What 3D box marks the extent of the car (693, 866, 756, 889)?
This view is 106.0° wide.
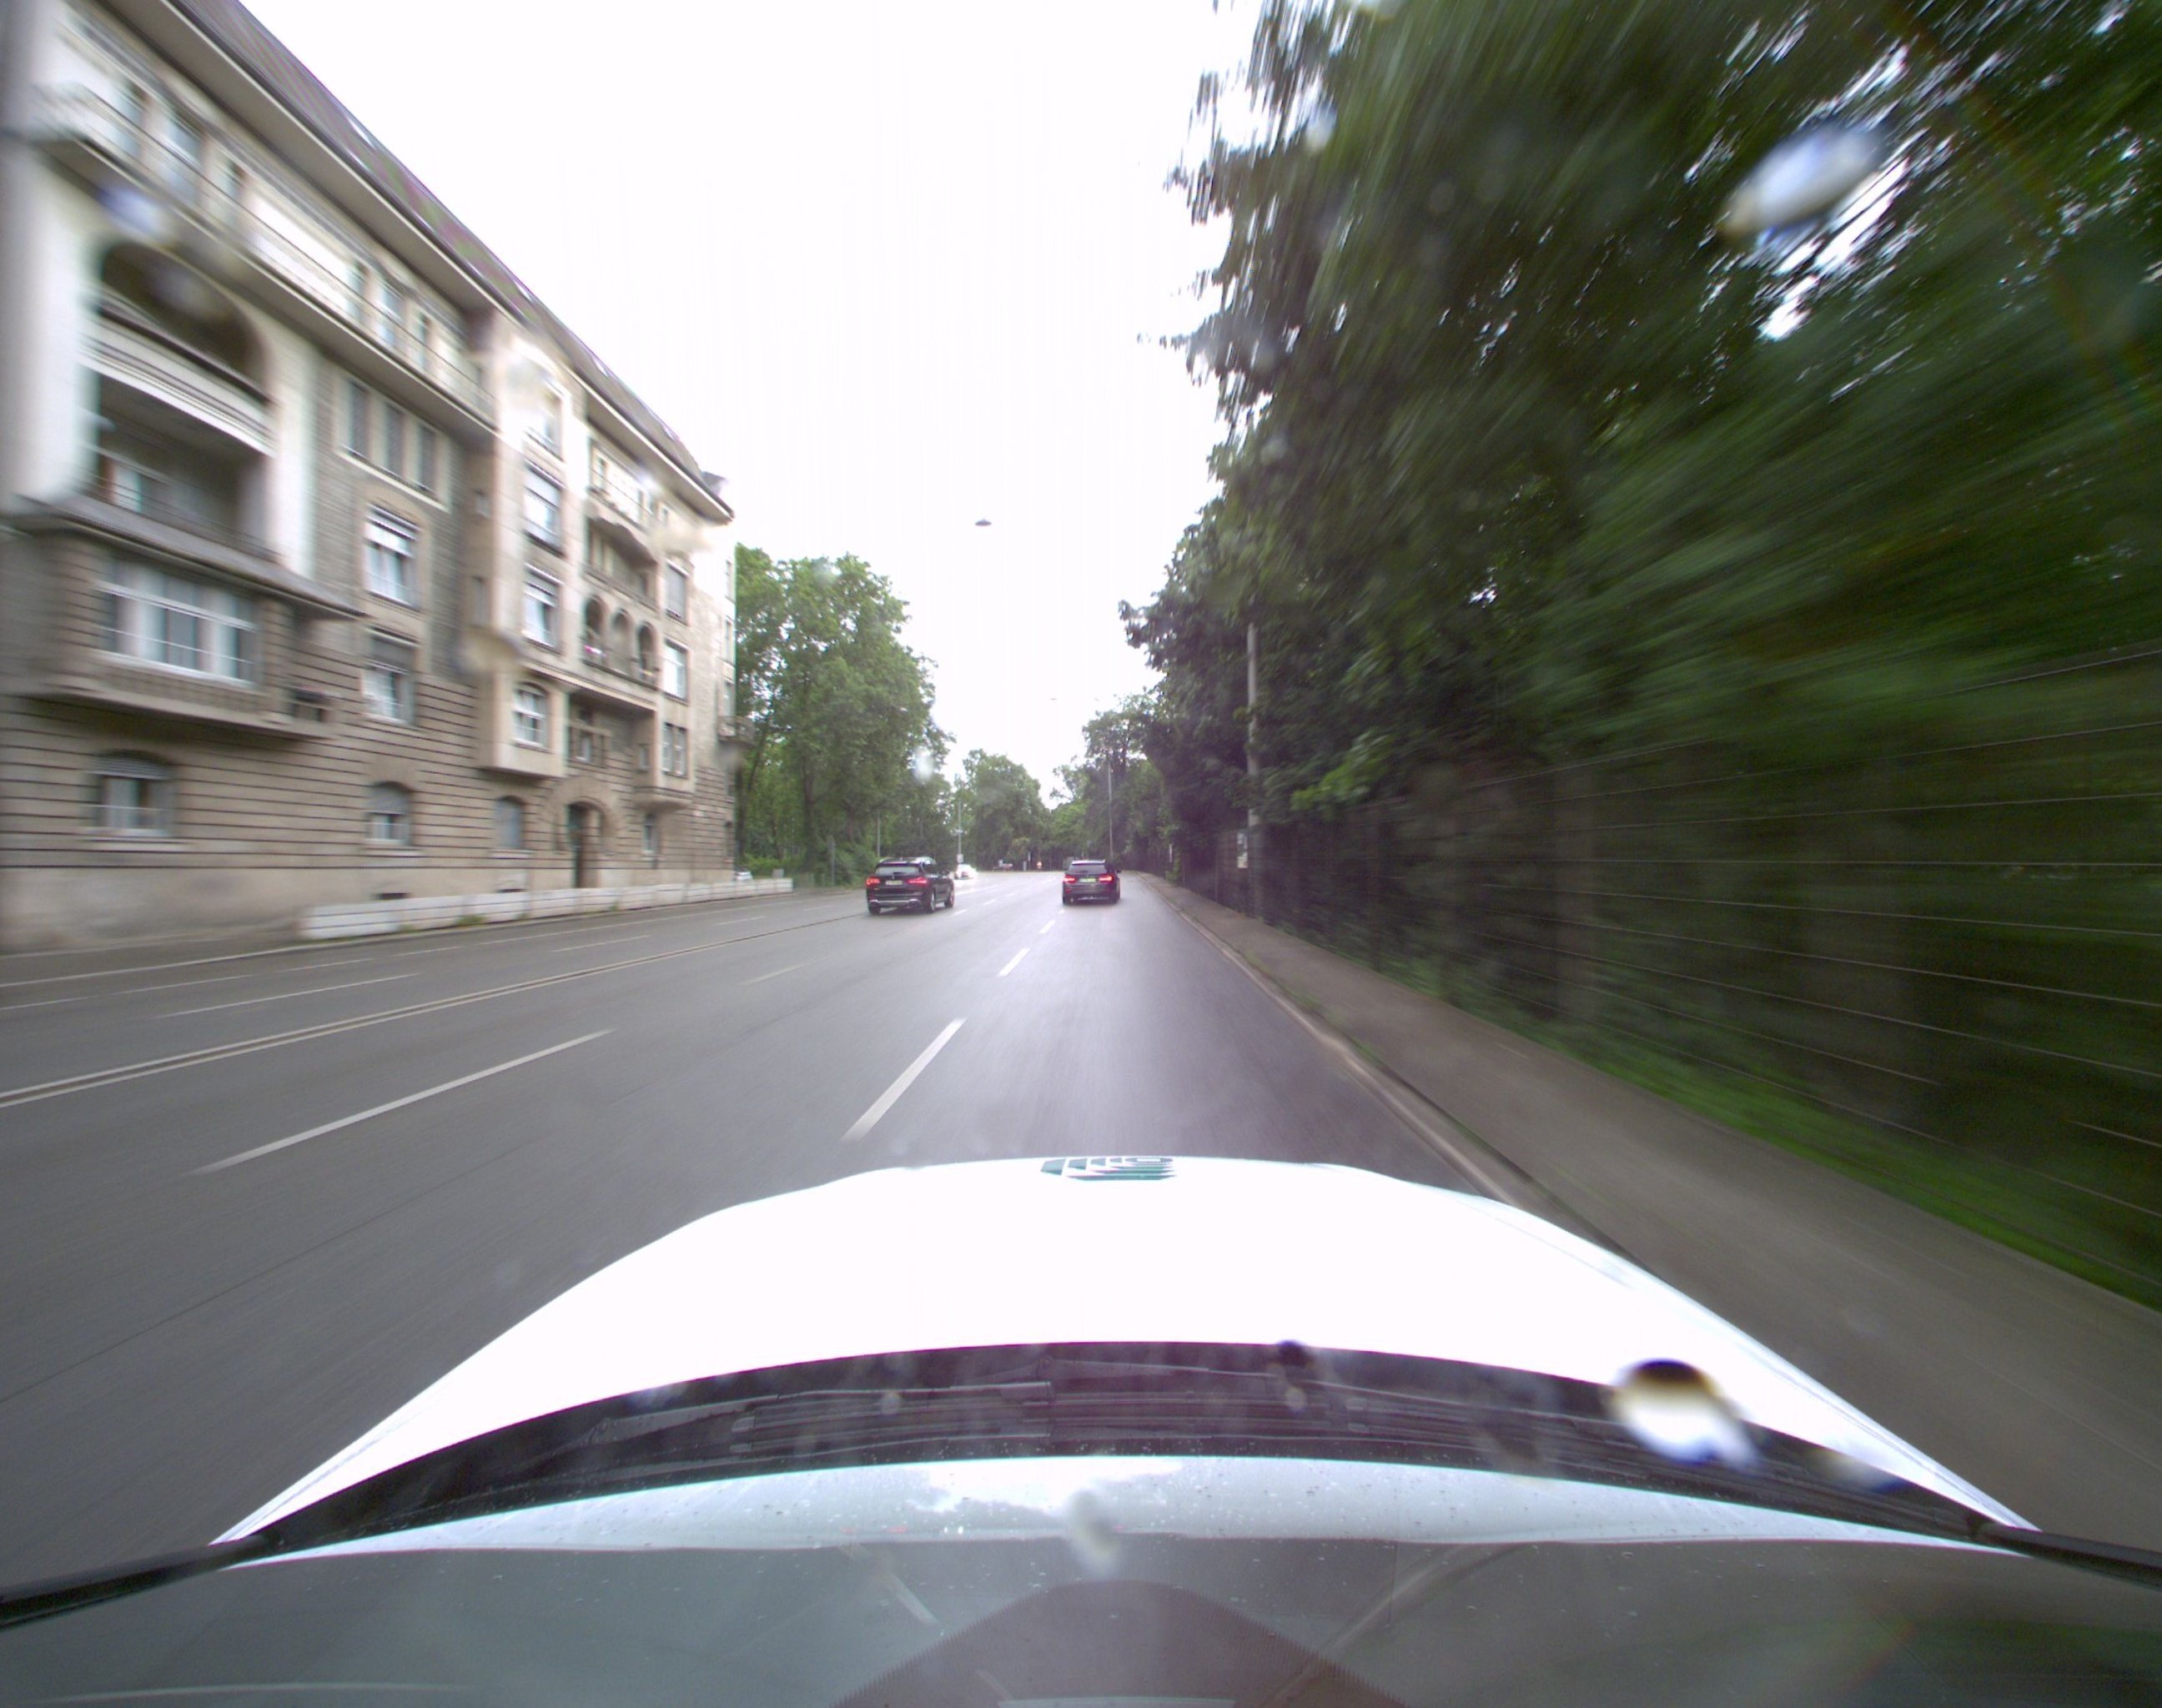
[{"bbox_3d":[-24.116,1.604,55.171,3.471,1.376,1.785,-2,0,11],"label":"car"}]

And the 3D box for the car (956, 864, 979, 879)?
[{"bbox_3d":[-11.313,1.752,81.332,1.573,1.414,3.964,-1,0,2],"label":"car"}]

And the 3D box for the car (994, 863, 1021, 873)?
[{"bbox_3d":[-11.081,2.092,122.328,4.316,1.427,1.702,-1,-4,45],"label":"car"}]

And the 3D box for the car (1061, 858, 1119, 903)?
[{"bbox_3d":[0.385,0.864,28.154,1.750,1.432,4.417,0,-1,4],"label":"car"}]

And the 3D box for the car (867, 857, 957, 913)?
[{"bbox_3d":[-5.071,0.881,25.019,1.751,1.586,4.413,0,0,1],"label":"car"}]
